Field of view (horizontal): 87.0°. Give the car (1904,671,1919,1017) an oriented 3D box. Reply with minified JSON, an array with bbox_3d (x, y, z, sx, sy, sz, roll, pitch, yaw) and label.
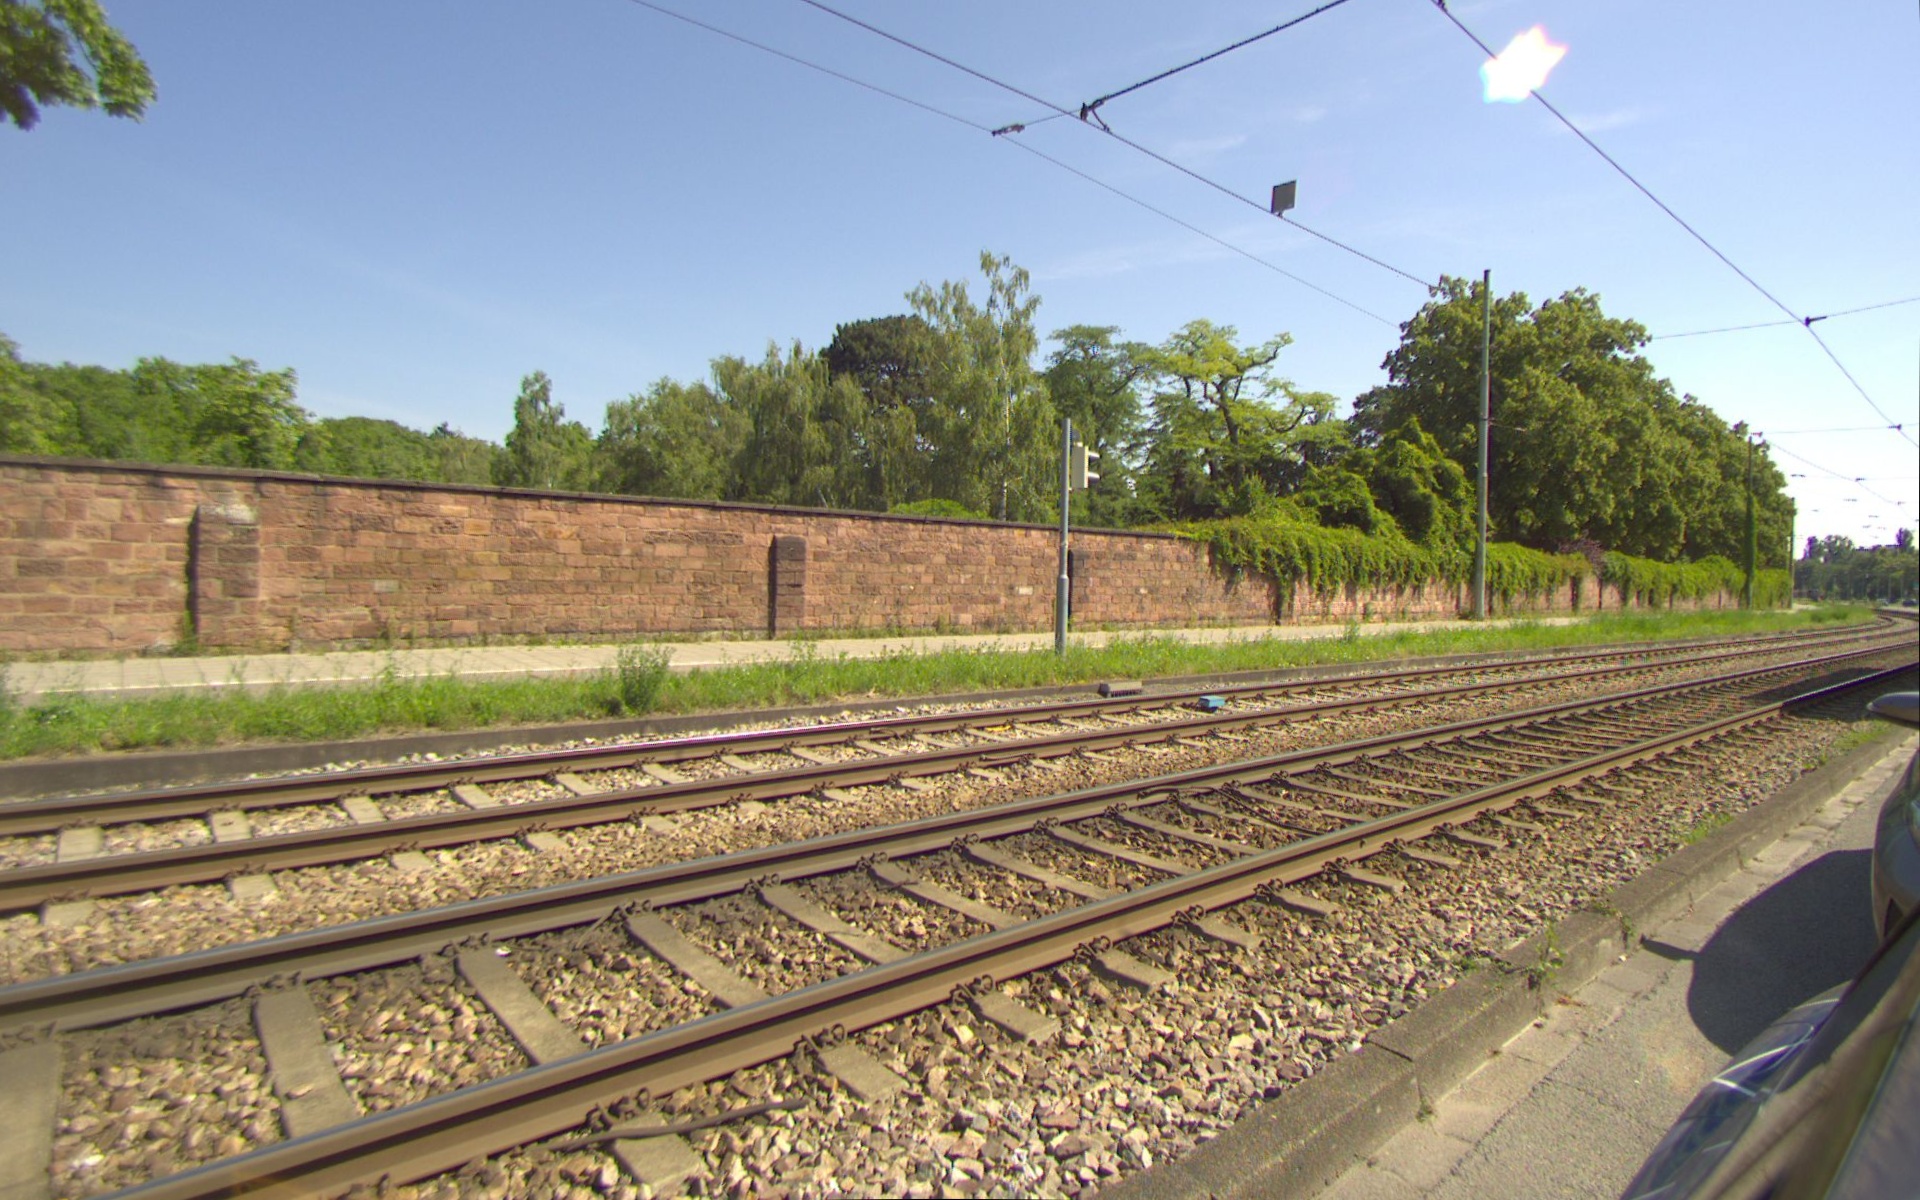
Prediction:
[{"bbox_3d":[5.102,0.664,3.992,3.930,1.448,1.573,0,2,-41],"label":"car"}]
